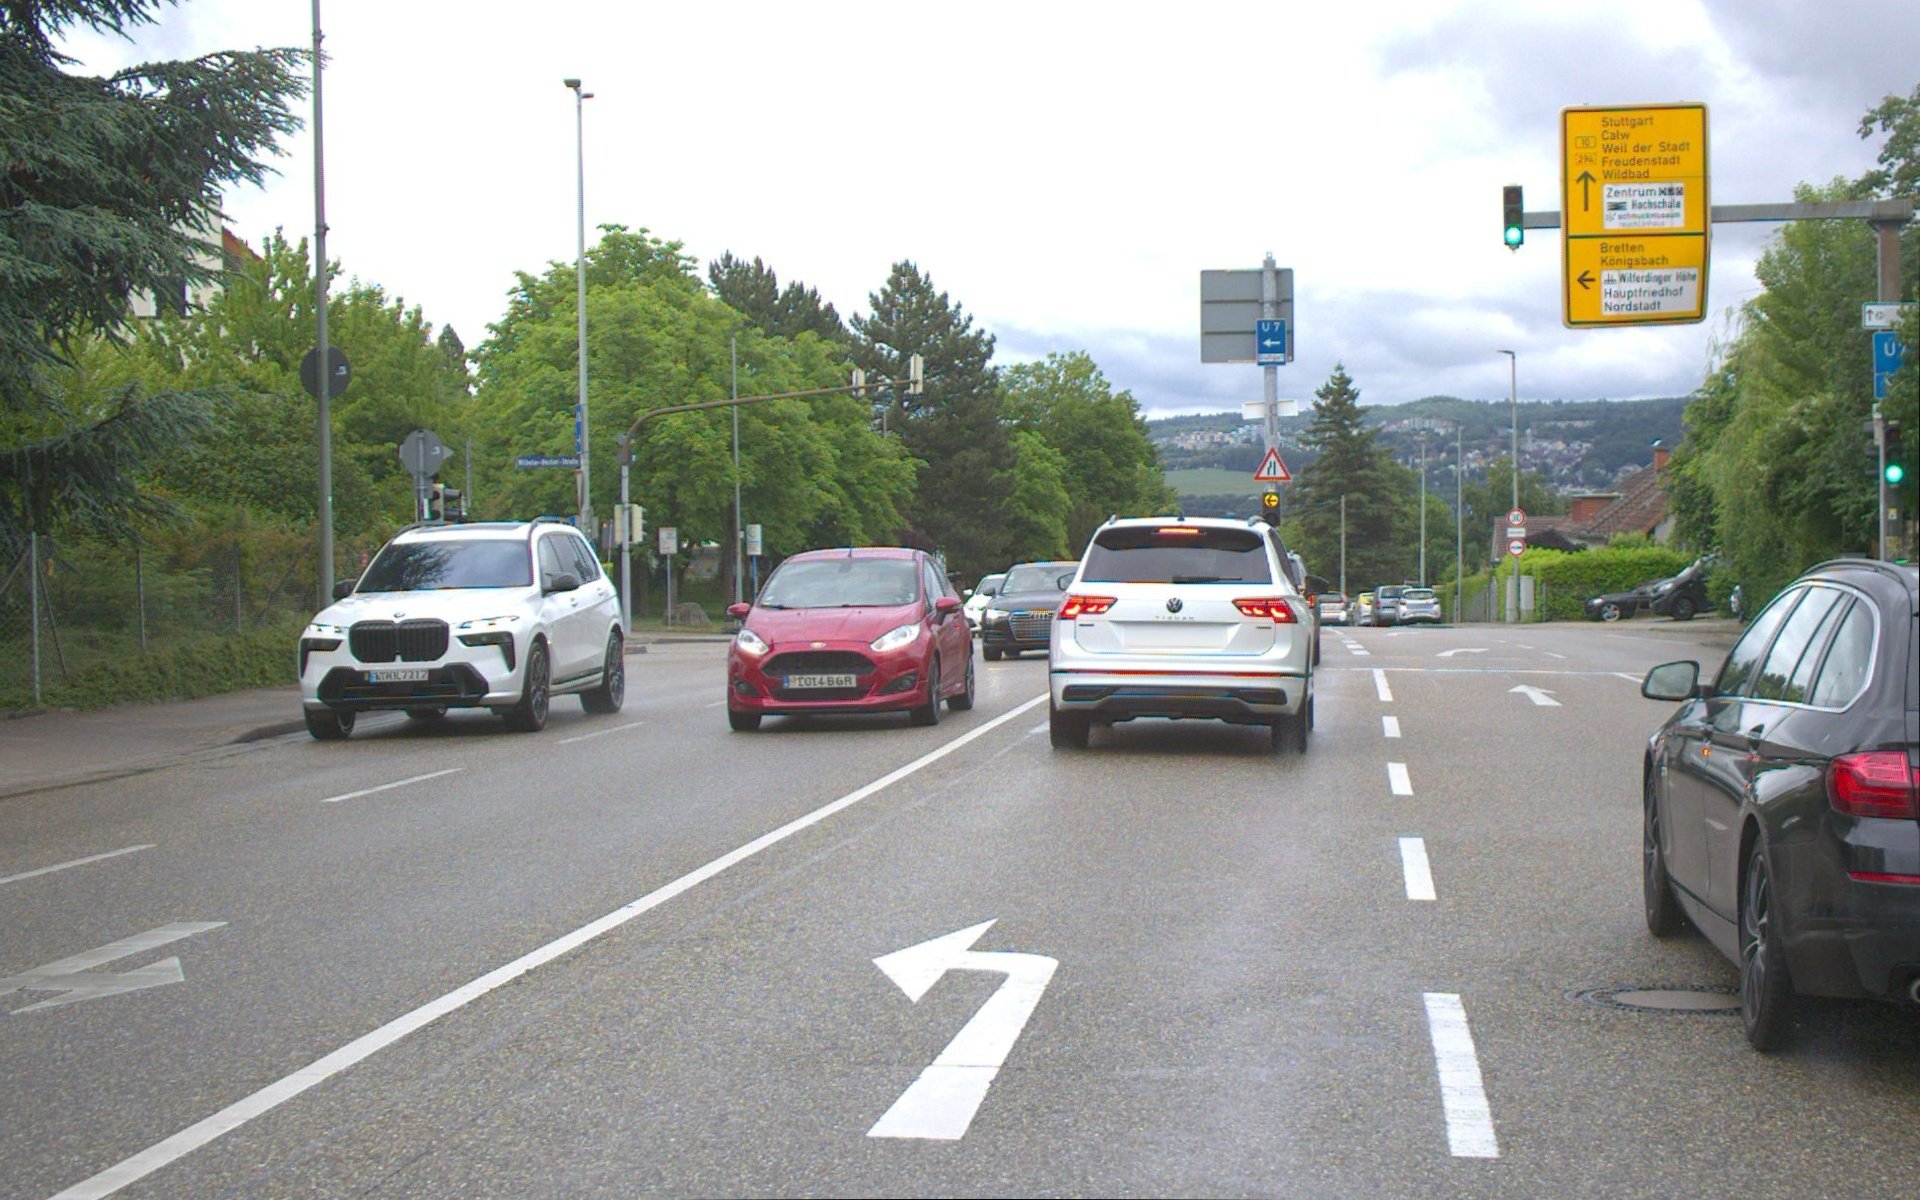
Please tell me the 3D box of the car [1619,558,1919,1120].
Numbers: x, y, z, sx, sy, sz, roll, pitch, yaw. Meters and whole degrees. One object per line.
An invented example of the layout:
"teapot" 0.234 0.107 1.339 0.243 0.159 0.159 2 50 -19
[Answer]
"car" 3.244 0.628 10.889 1.899 1.436 3.999 2 1 6

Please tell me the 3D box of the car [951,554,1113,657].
"car" 1.110 0.057 50.774 1.893 1.399 4.263 -1 1 8

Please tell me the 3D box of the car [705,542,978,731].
"car" -0.920 0.257 28.824 1.681 1.414 3.840 -2 1 7

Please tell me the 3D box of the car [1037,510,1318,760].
"car" 1.678 0.183 25.312 1.869 1.668 3.999 1 2 6

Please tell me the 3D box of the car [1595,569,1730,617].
"car" 21.513 -0.214 105.343 3.989 1.372 1.584 1 1 10

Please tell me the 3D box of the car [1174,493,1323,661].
"car" 3.805 -0.342 44.938 1.811 2.080 3.849 1 2 6

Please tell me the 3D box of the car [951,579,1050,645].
"car" 0.939 0.246 77.128 1.775 1.380 4.548 -1 1 6

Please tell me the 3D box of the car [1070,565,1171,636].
"car" 3.460 -0.017 73.418 1.749 1.380 4.410 -2 1 7

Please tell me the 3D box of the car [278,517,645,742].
"car" -4.317 0.196 30.691 1.917 1.757 5.142 -3 1 7
